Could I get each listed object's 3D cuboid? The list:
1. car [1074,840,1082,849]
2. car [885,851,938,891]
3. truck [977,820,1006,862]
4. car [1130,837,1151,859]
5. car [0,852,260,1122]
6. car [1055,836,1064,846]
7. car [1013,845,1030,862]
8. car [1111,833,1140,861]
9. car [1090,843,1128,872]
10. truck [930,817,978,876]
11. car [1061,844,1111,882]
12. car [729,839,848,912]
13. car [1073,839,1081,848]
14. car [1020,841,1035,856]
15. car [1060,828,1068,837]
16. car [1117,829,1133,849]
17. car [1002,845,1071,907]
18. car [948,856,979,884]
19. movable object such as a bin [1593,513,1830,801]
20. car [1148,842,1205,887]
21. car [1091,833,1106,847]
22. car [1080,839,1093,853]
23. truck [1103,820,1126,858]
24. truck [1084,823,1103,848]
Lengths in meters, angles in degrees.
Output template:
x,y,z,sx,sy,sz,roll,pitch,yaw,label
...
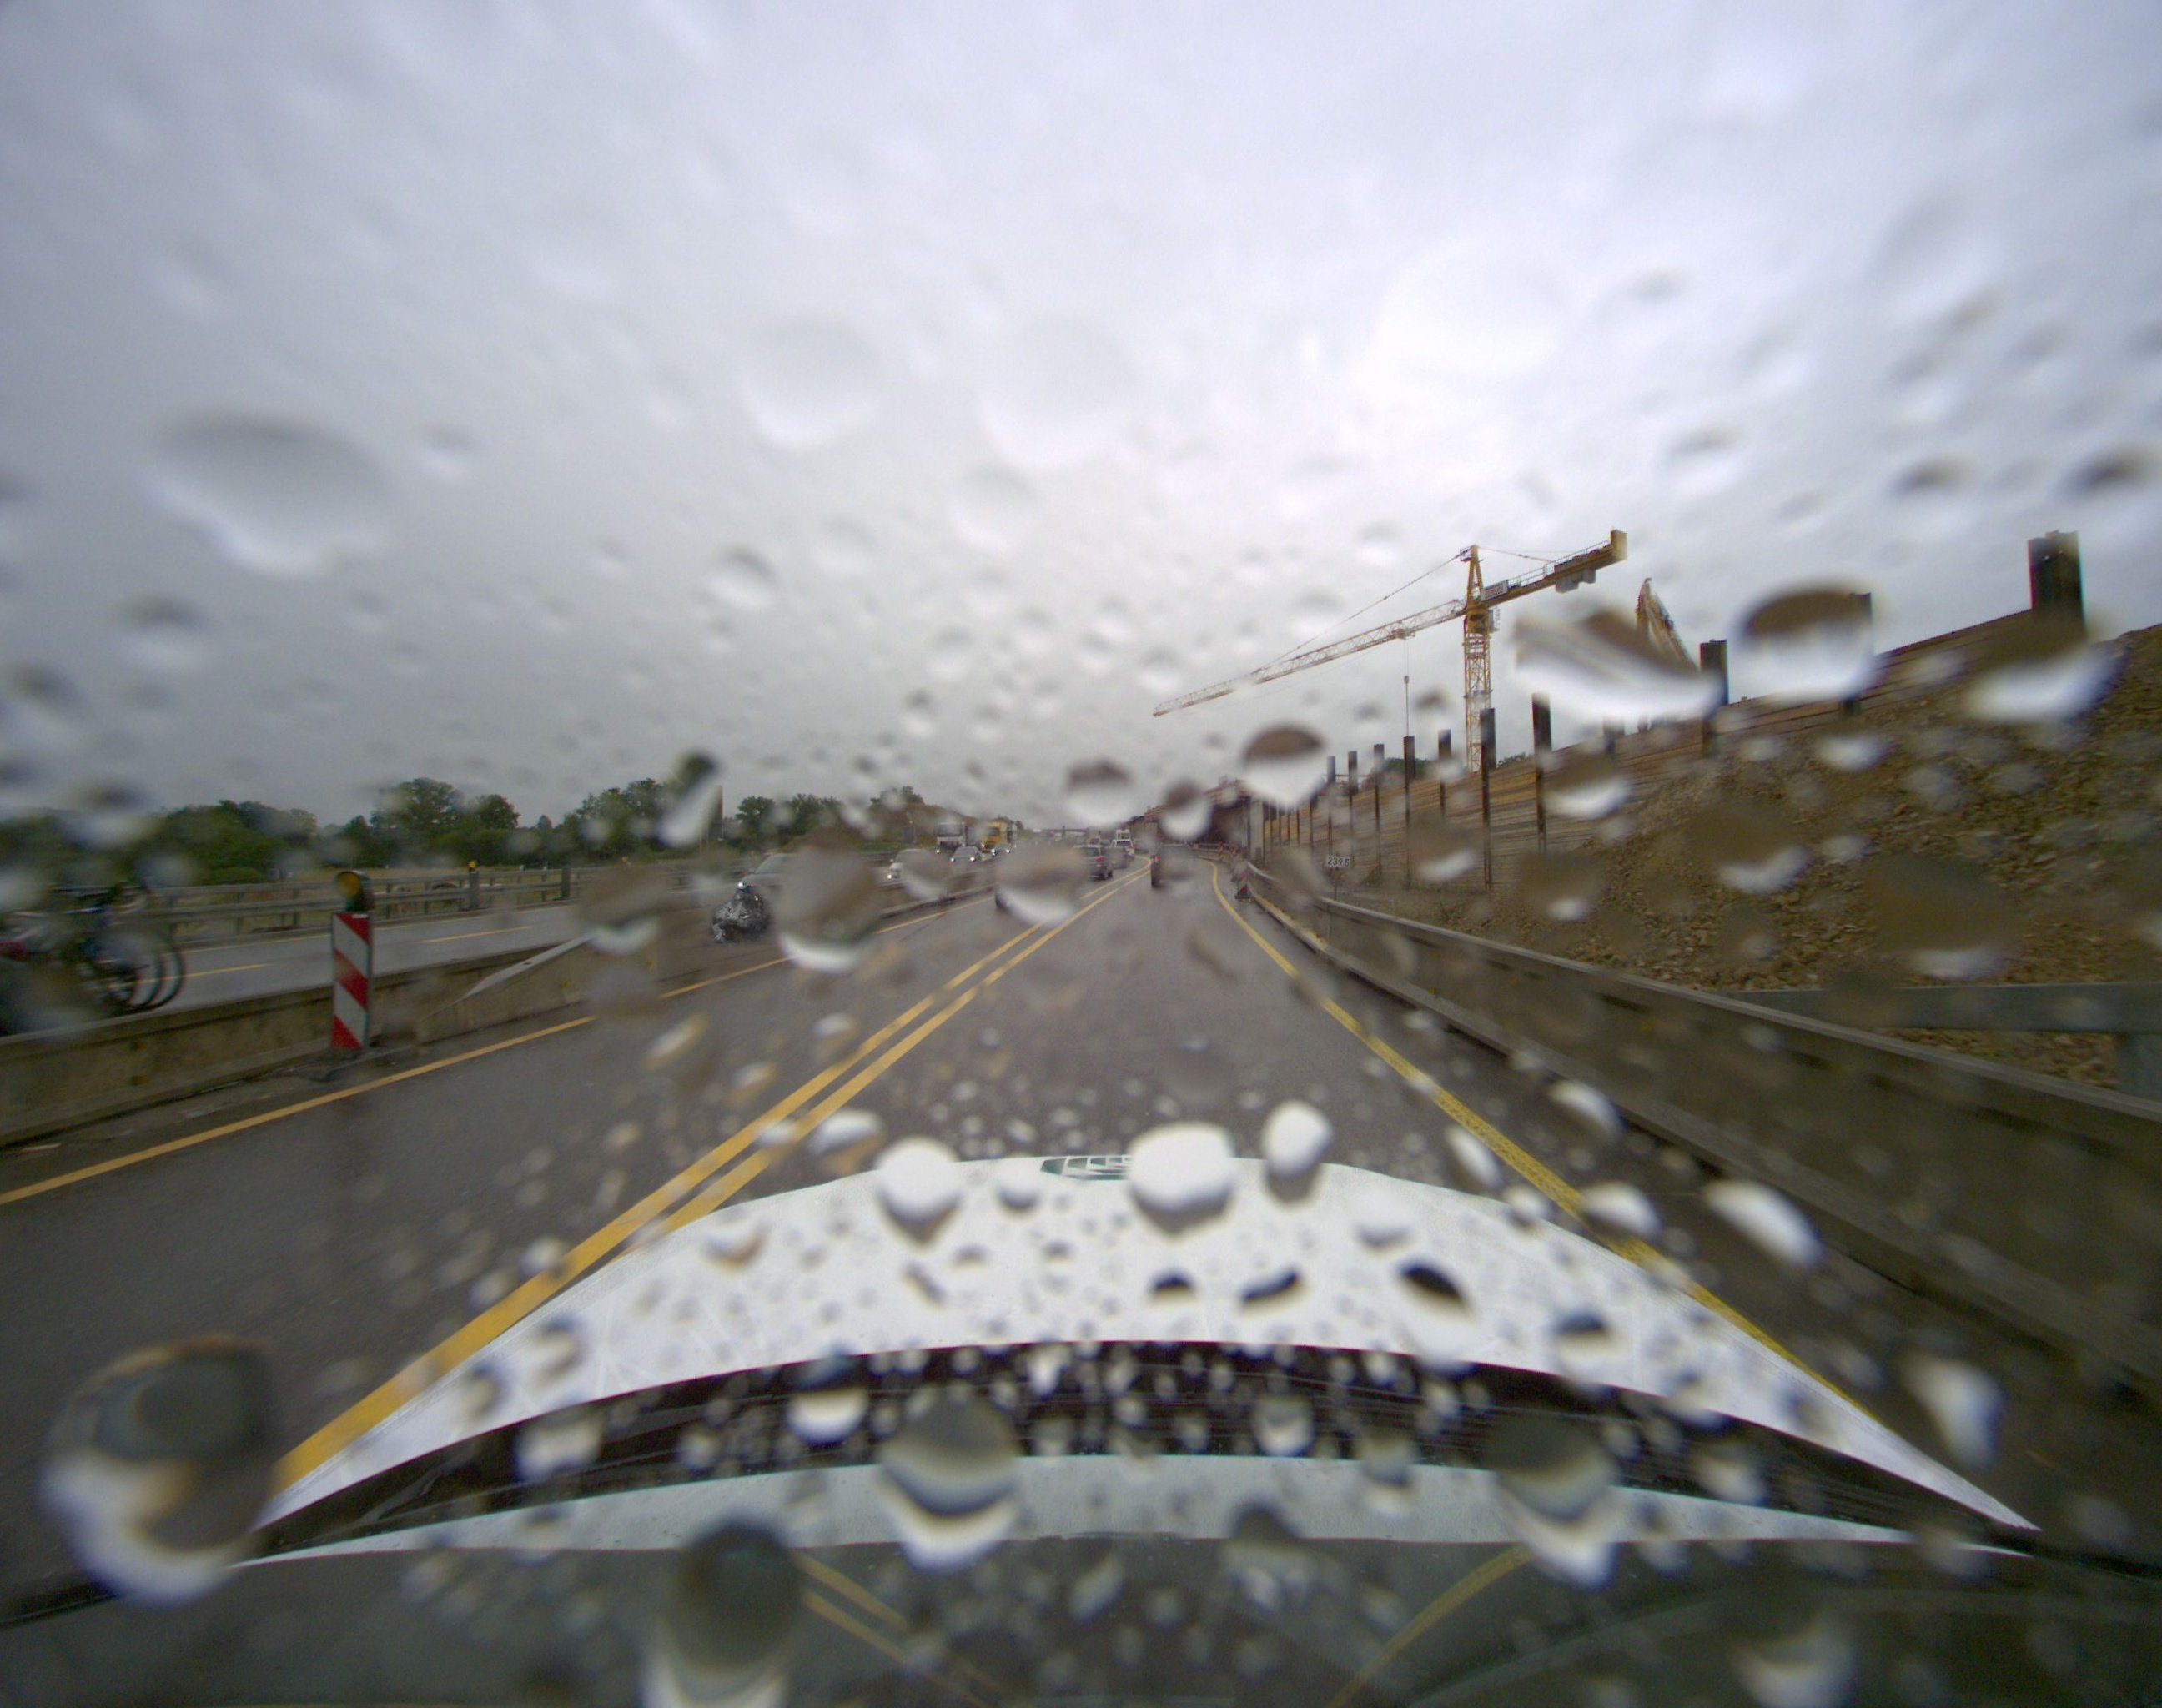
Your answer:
x,y,z,sx,sy,sz,roll,pitch,yaw,label
-0.806,-2.268,190.828,1.844,1.894,4.018,-1,-3,-1,car
-8.282,0.905,40.105,1.781,1.810,4.495,-1,-3,-2,car
-12.042,-1.633,110.500,3.132,5.418,8.519,0,-1,-1,truck
6.582,-0.683,90.155,1.987,2.163,4.139,-1,-3,0,car
-7.576,0.823,3.906,1.733,1.684,5.548,0,-1,-2,car
-5.433,-3.271,205.477,1.988,2.014,3.995,-1,-3,-2,car
-8.612,0.010,117.999,2.232,2.359,4.874,-1,-1,-1,car
3.616,-0.537,66.638,1.989,2.014,3.889,-1,-3,-2,car
1.734,0.269,51.502,1.989,1.601,4.134,-1,-3,-3,car
-11.245,-0.562,73.014,3.074,4.920,8.559,0,-1,-1,truck
0.309,0.464,38.649,1.984,1.601,4.145,-1,-3,5,car
-7.994,0.657,22.713,1.781,1.810,4.495,-1,-3,-2,car
-0.961,-2.715,211.105,1.988,2.014,3.996,-2,-1,-2,car
-8.909,-0.850,134.792,2.210,2.370,4.661,0,-1,-1,car
-4.655,-5.824,219.798,1.988,2.014,3.995,-1,-3,-2,car
6.154,-2.049,113.772,1.987,2.485,4.980,-1,-3,0,car
-1.272,0.663,23.620,1.812,1.601,4.302,-1,-2,-3,car
-8.211,1.177,57.137,1.618,1.810,3.635,-1,-3,-1,car
29.683,-8.601,39.422,4.686,10.844,10.337,-2,-3,13,movable object such as a bin
3.758,0.484,32.493,2.071,1.601,4.145,-1,-3,5,car
2.645,-2.122,121.632,1.989,1.762,3.810,-1,-3,-2,car
0.930,-1.342,137.937,1.985,2.163,4.143,-1,-3,3,car
5.521,-2.373,133.602,3.086,5.427,9.456,-1,-3,6,truck
2.925,-4.395,195.892,3.794,5.044,12.906,-1,-3,-2,truck
